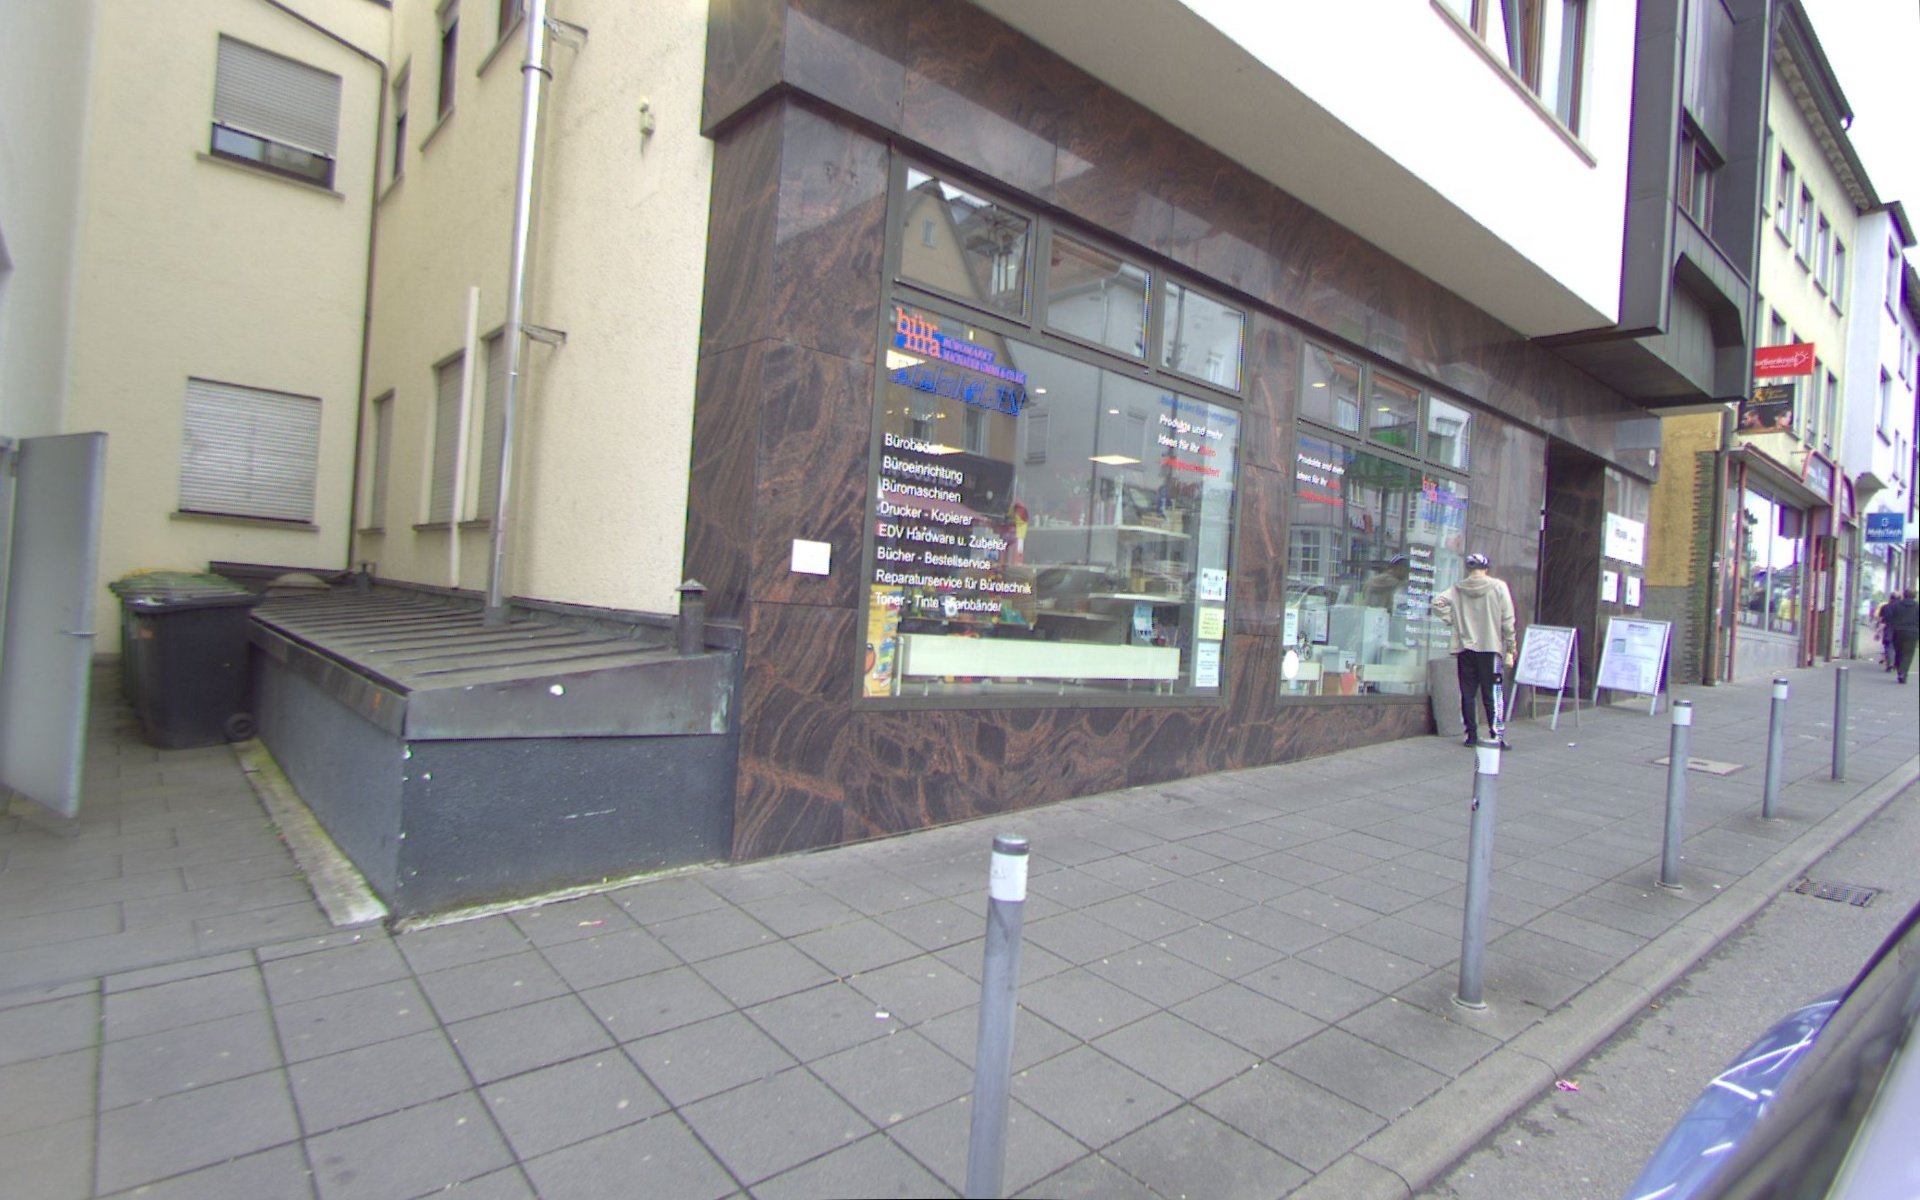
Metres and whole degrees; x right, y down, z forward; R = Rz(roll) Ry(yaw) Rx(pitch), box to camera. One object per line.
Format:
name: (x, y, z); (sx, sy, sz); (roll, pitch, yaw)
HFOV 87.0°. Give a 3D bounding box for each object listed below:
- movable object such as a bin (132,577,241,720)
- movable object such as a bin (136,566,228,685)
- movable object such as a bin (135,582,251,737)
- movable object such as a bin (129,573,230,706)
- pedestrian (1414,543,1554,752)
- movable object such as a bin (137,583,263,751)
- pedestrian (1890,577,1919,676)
movable object such as a bin: (-6.298, 0.364, 8.235); (0.643, 1.072, 0.747); (0, 2, -42)
movable object such as a bin: (-7.458, 0.222, 9.691); (0.643, 1.072, 0.747); (0, 2, -42)
movable object such as a bin: (-5.809, 0.417, 7.658); (0.643, 1.072, 0.747); (0, 2, -42)
movable object such as a bin: (-6.794, 0.317, 8.806); (0.643, 1.072, 0.747); (0, 2, -42)
pedestrian: (4.570, 0.378, 8.838); (0.767, 1.693, 0.759); (0, 4, -43)
movable object such as a bin: (-5.324, 0.435, 7.087); (0.643, 1.072, 0.723); (0, 2, -42)
pedestrian: (17.096, 0.465, 18.092); (0.637, 1.719, 0.697); (3, 2, 44)
